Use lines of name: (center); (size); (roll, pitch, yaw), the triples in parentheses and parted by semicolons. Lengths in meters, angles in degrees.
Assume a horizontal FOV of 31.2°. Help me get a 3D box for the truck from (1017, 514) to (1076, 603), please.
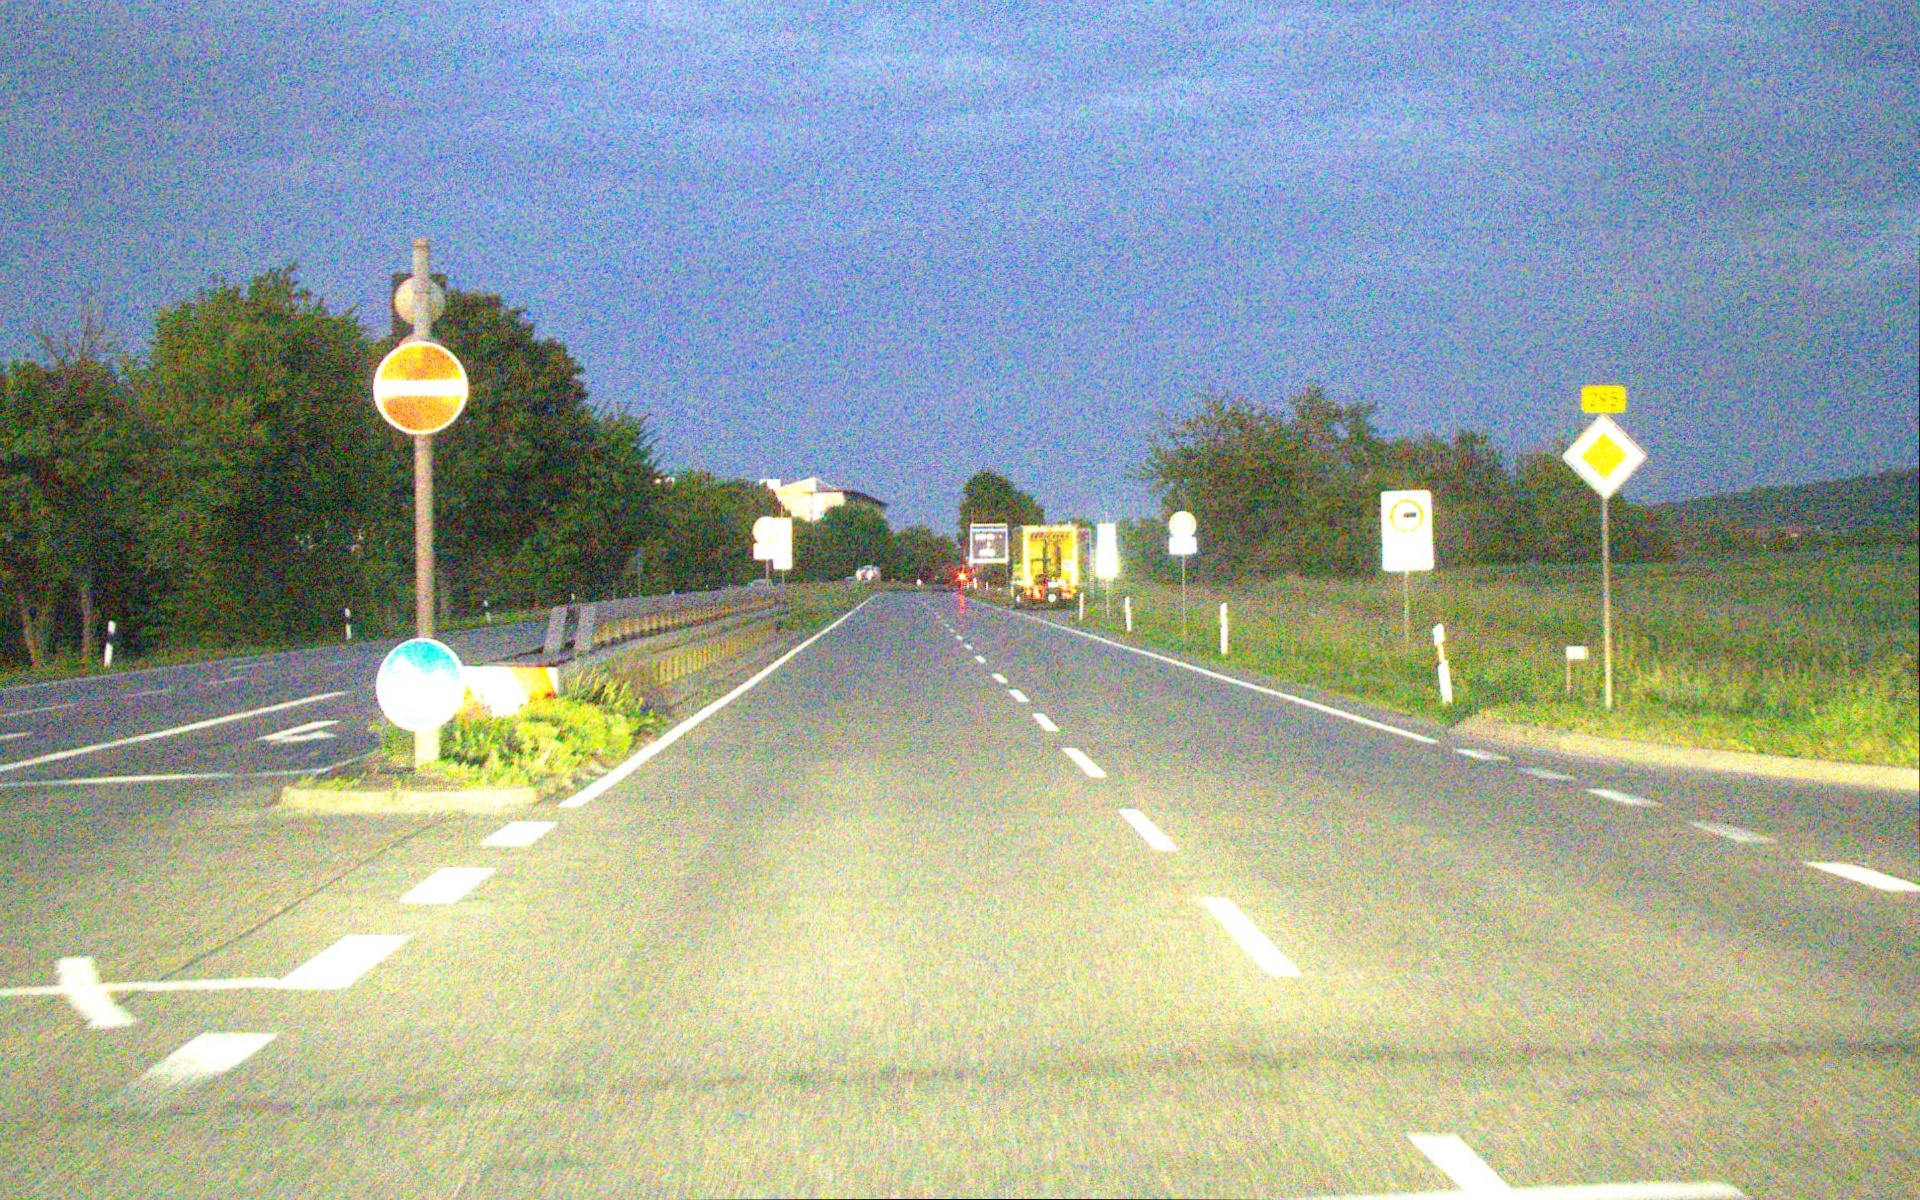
truck: (4.074, -1.977, 162.367); (2.579, 4.057, 6.130); (1, 1, 0)

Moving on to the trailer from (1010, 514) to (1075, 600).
trailer: (4.014, -2.108, 169.763); (2.622, 4.090, 12.938); (-1, 1, -1)
